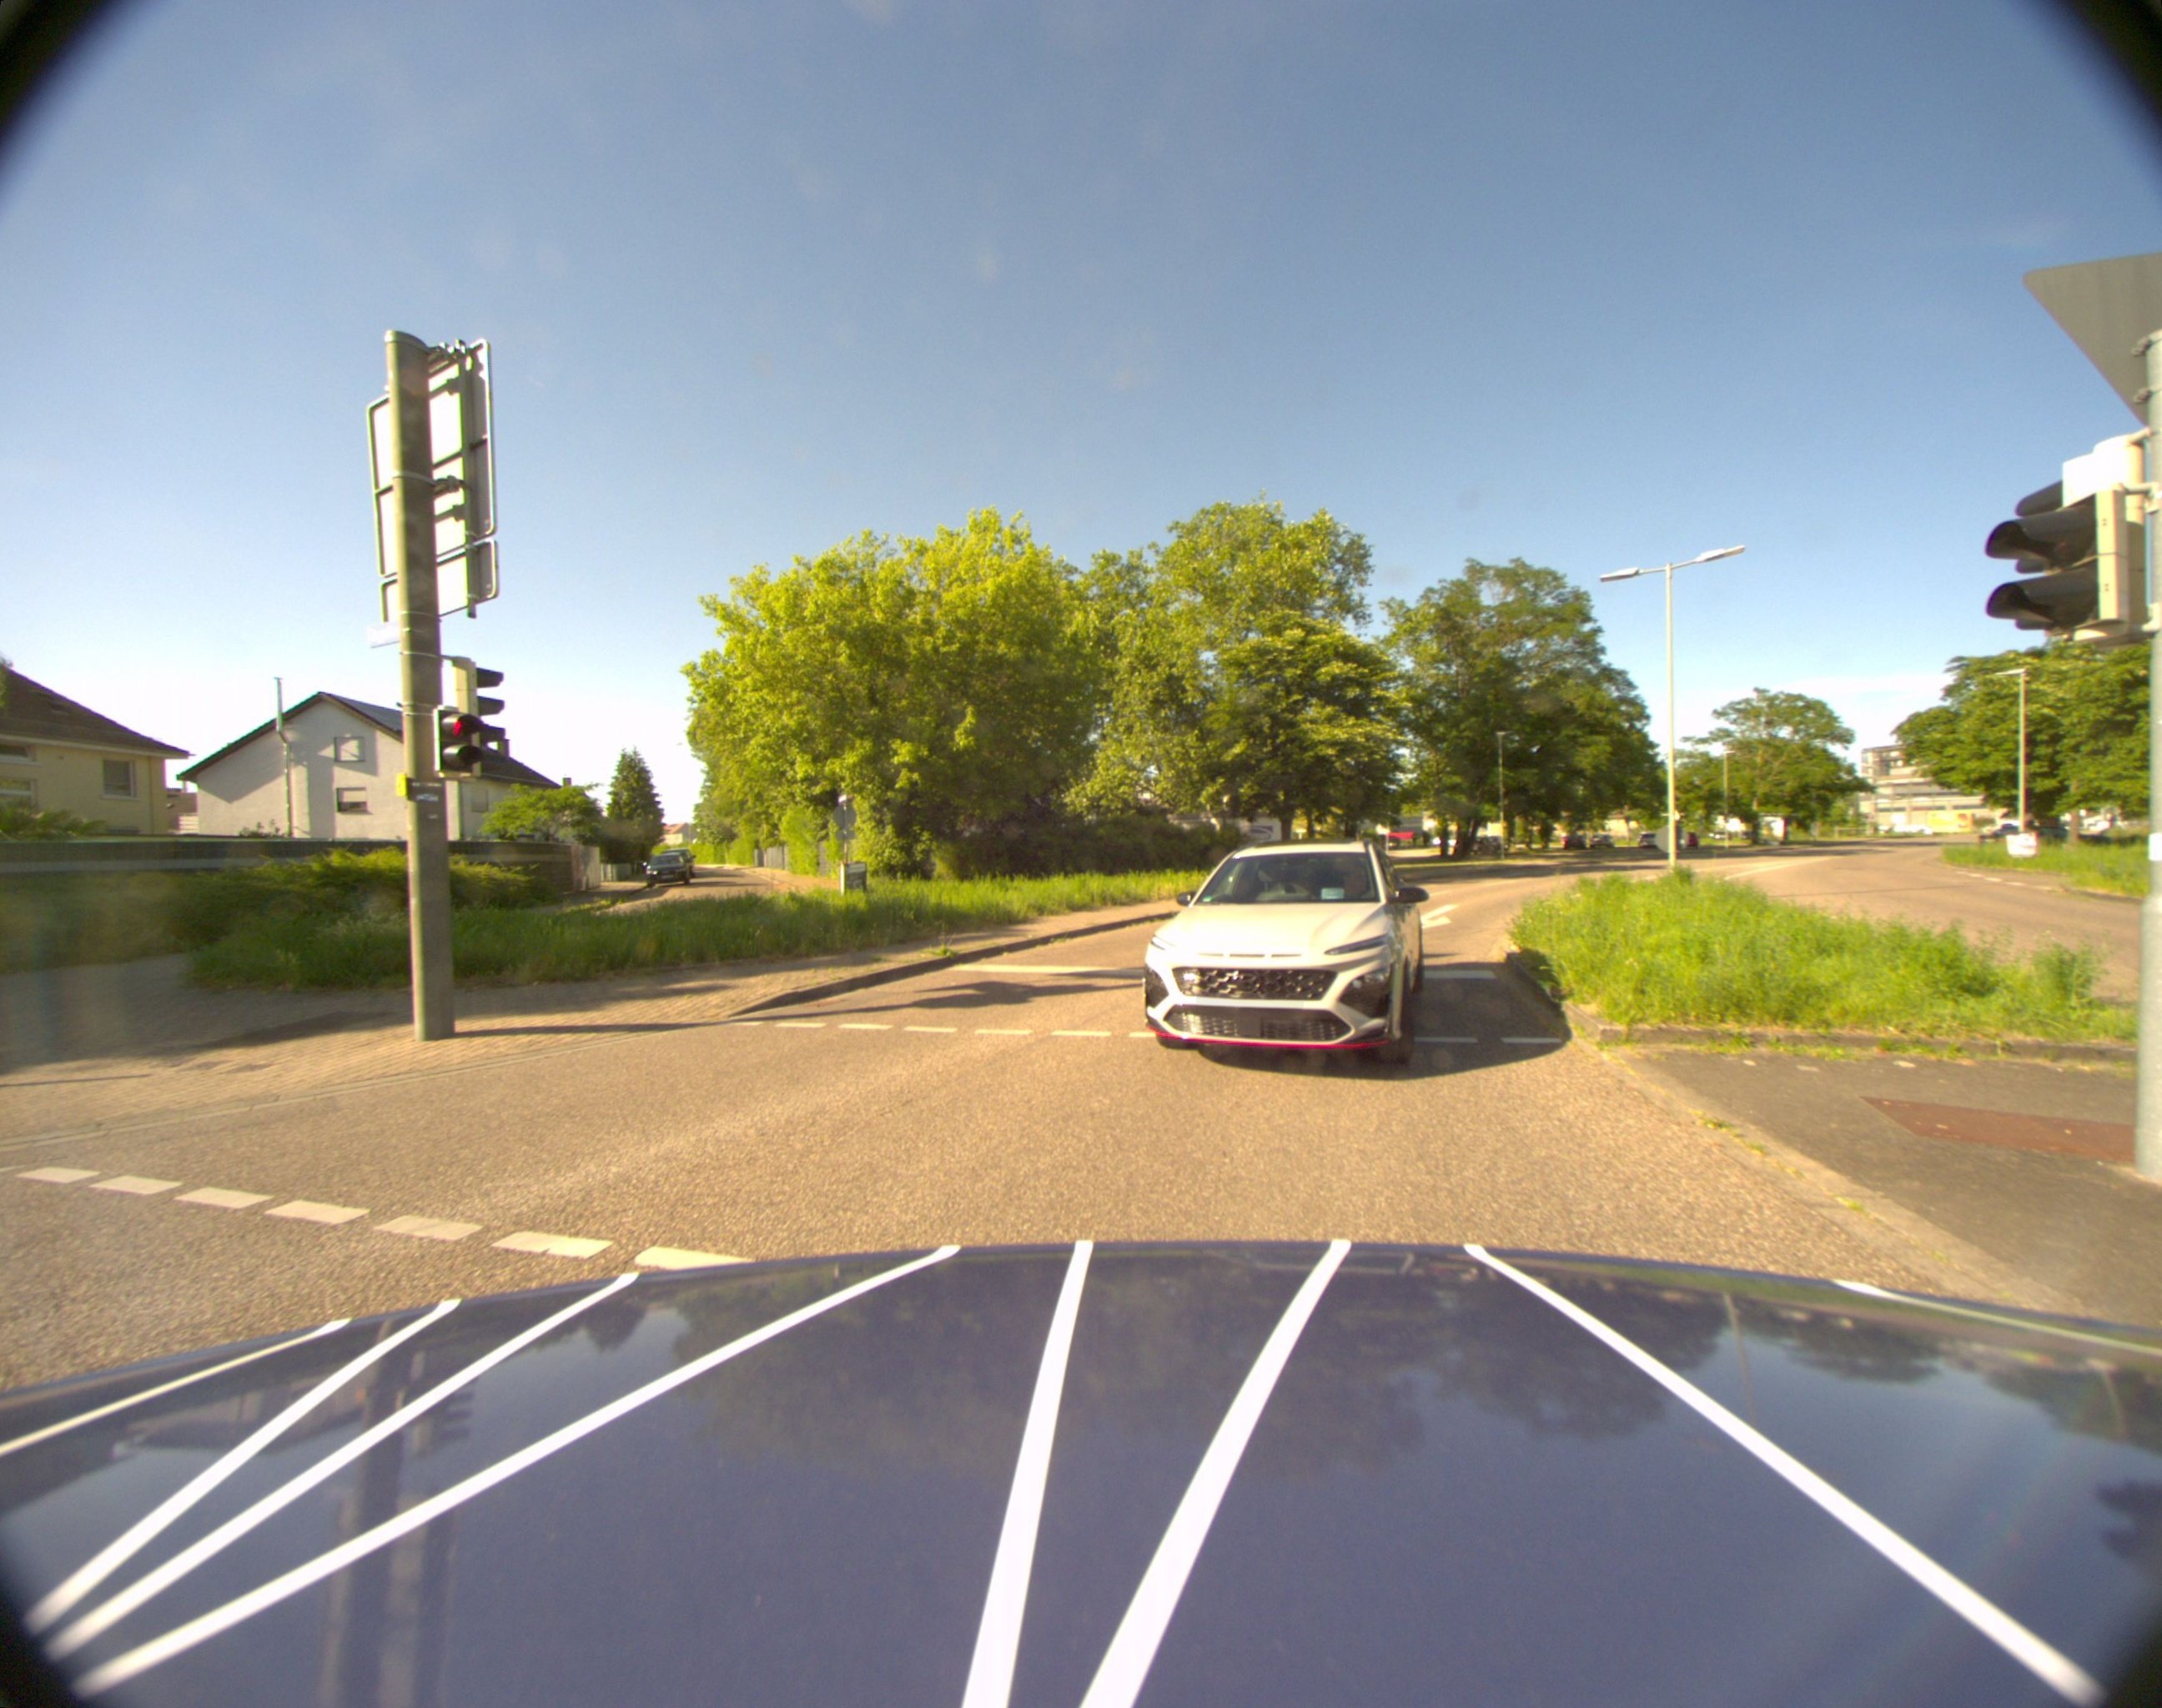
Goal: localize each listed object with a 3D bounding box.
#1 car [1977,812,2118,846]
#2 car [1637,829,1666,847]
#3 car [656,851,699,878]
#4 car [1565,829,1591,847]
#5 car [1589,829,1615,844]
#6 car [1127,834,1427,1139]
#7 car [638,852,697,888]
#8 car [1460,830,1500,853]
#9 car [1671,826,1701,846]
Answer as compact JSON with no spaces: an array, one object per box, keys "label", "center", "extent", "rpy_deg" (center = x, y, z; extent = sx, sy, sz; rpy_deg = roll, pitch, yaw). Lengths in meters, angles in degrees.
[{"label":"car","center":[47.405,-1.185,37.415],"extent":[3.988,1.521,1.932],"rpy_deg":[-1,1,40]},{"label":"car","center":[51.193,-1.444,68.120],"extent":[1.994,1.442,4.007],"rpy_deg":[1,3,38]},{"label":"car","center":[-25.784,0.643,48.709],"extent":[1.965,1.656,3.992],"rpy_deg":[-1,1,-22]},{"label":"car","center":[46.342,-1.521,70.831],"extent":[1.732,1.610,4.007],"rpy_deg":[1,3,38]},{"label":"car","center":[51.291,-1.750,74.779],"extent":[1.867,1.432,3.490],"rpy_deg":[1,3,38]},{"label":"car","center":[1.971,0.719,6.498],"extent":[1.712,1.636,4.060],"rpy_deg":[0,3,26]},{"label":"car","center":[-20.105,0.729,37.137],"extent":[2.002,1.547,3.992],"rpy_deg":[-3,1,-22]},{"label":"car","center":[33.552,-1.042,63.862],"extent":[2.004,1.785,4.007],"rpy_deg":[-1,1,42]},{"label":"car","center":[52.775,-1.591,66.355],"extent":[1.994,1.657,4.007],"rpy_deg":[1,3,38]}]
